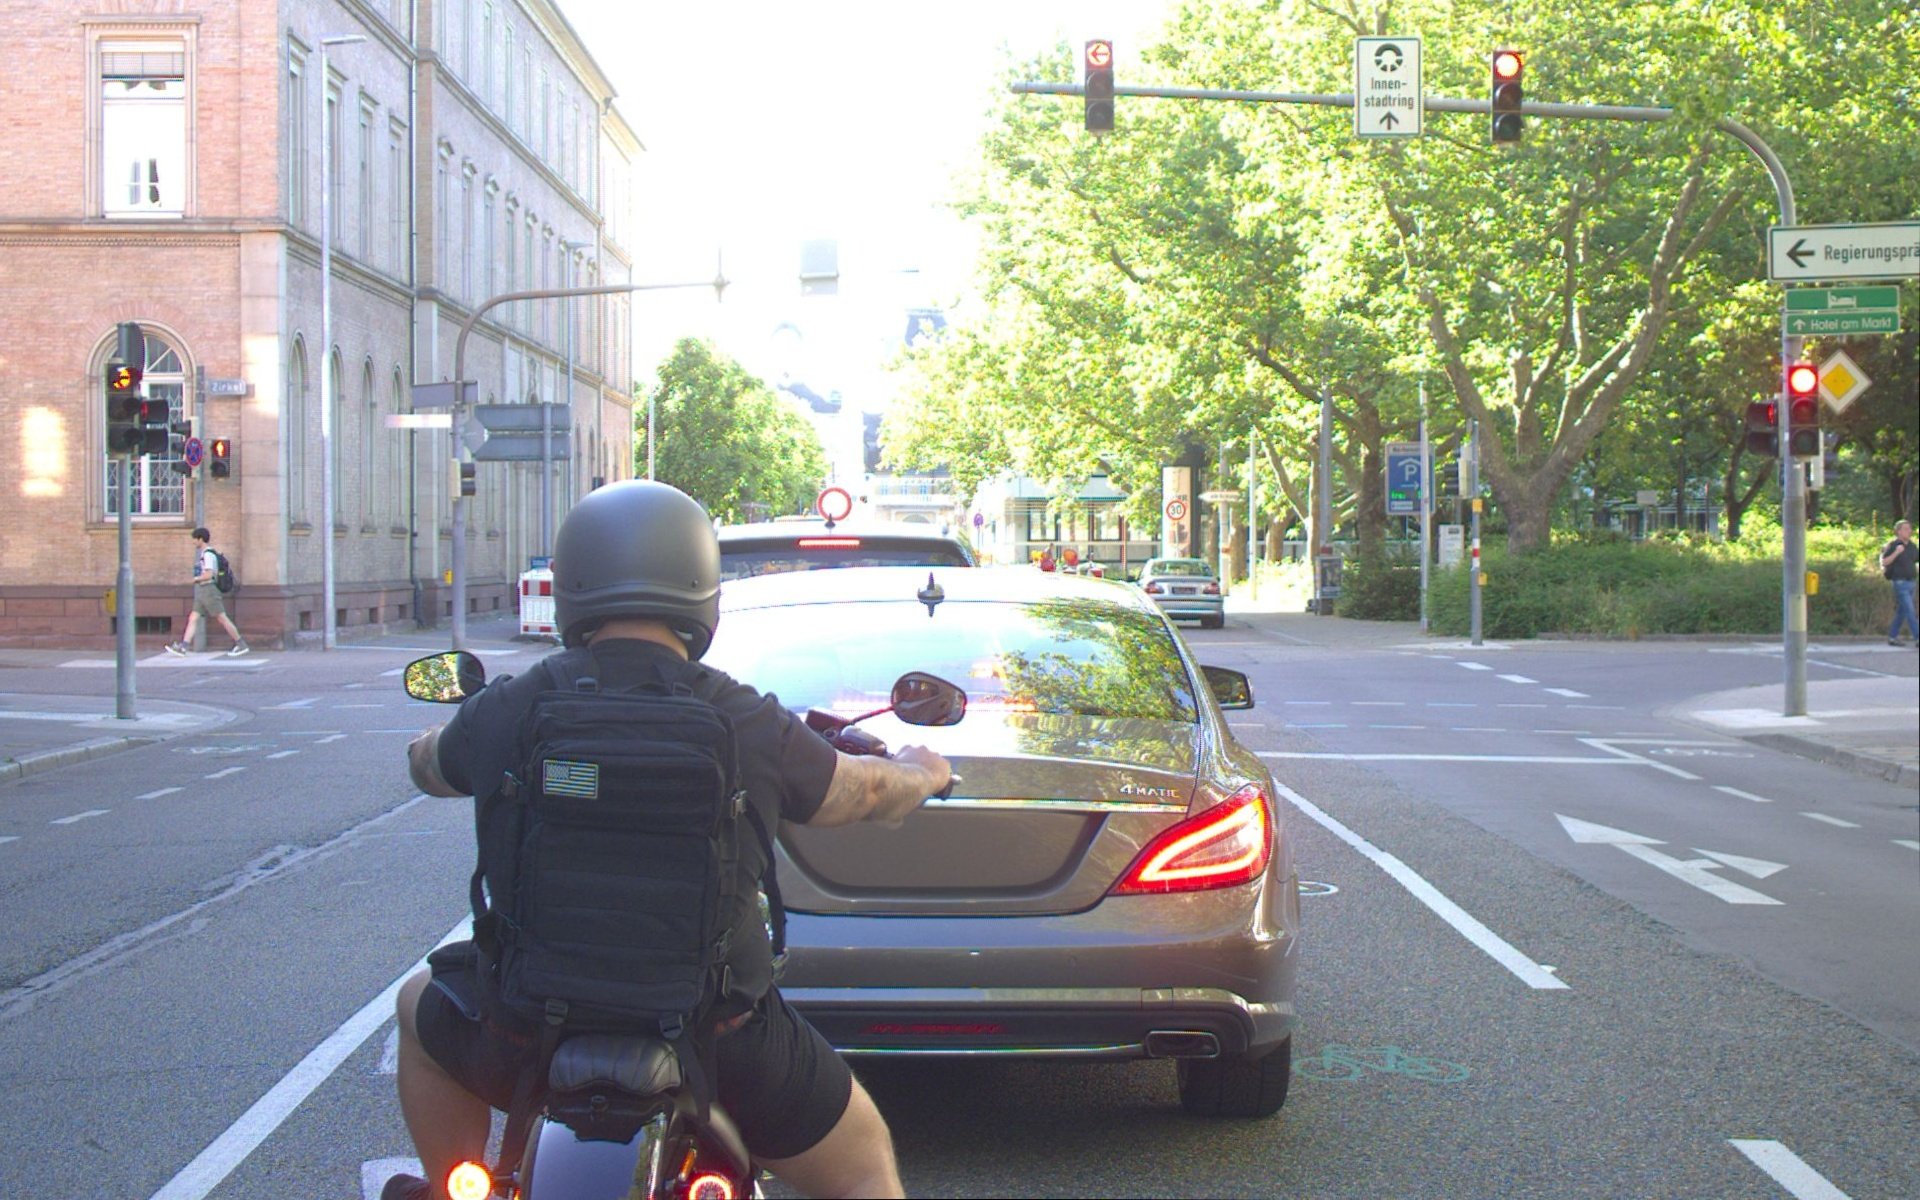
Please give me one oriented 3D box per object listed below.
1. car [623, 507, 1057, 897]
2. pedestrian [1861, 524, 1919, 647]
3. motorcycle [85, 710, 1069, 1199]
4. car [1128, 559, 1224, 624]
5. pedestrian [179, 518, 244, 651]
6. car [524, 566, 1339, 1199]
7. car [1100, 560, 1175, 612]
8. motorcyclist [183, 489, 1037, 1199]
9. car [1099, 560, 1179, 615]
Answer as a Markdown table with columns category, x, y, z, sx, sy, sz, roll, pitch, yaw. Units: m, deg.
| category | x | y | z | sx | sy | sz | roll | pitch | yaw |
| --- | --- | --- | --- | --- | --- | --- | --- | --- | --- |
| car | -0.544 | 0.426 | 16.948 | 1.863 | 1.672 | 4.000 | 1 | 1 | -1 |
| pedestrian | 13.638 | -0.216 | 50.182 | 0.737 | 1.772 | 0.728 | 1 | 0 | 30 |
| motorcycle | -0.469 | 0.832 | 5.506 | 1.118 | 1.203 | 2.212 | 1 | 1 | 6 |
| car | 4.311 | -0.190 | 69.067 | 1.631 | 1.255 | 3.716 | 1 | 1 | -1 |
| pedestrian | -10.333 | -0.217 | 47.463 | 0.738 | 1.814 | 0.643 | 1 | 0 | -1 |
| car | -0.086 | 0.633 | 9.671 | 1.822 | 1.432 | 3.806 | 1 | 1 | -1 |
| car | 4.458 | -0.366 | 86.769 | 1.631 | 1.255 | 3.716 | 1 | 1 | -1 |
| motorcyclist | -0.483 | 0.628 | 5.283 | 1.099 | 1.560 | 1.071 | 1 | 0 | 6 |
| car | 4.229 | -0.317 | 81.553 | 1.631 | 1.255 | 3.716 | 1 | 1 | -1 |
